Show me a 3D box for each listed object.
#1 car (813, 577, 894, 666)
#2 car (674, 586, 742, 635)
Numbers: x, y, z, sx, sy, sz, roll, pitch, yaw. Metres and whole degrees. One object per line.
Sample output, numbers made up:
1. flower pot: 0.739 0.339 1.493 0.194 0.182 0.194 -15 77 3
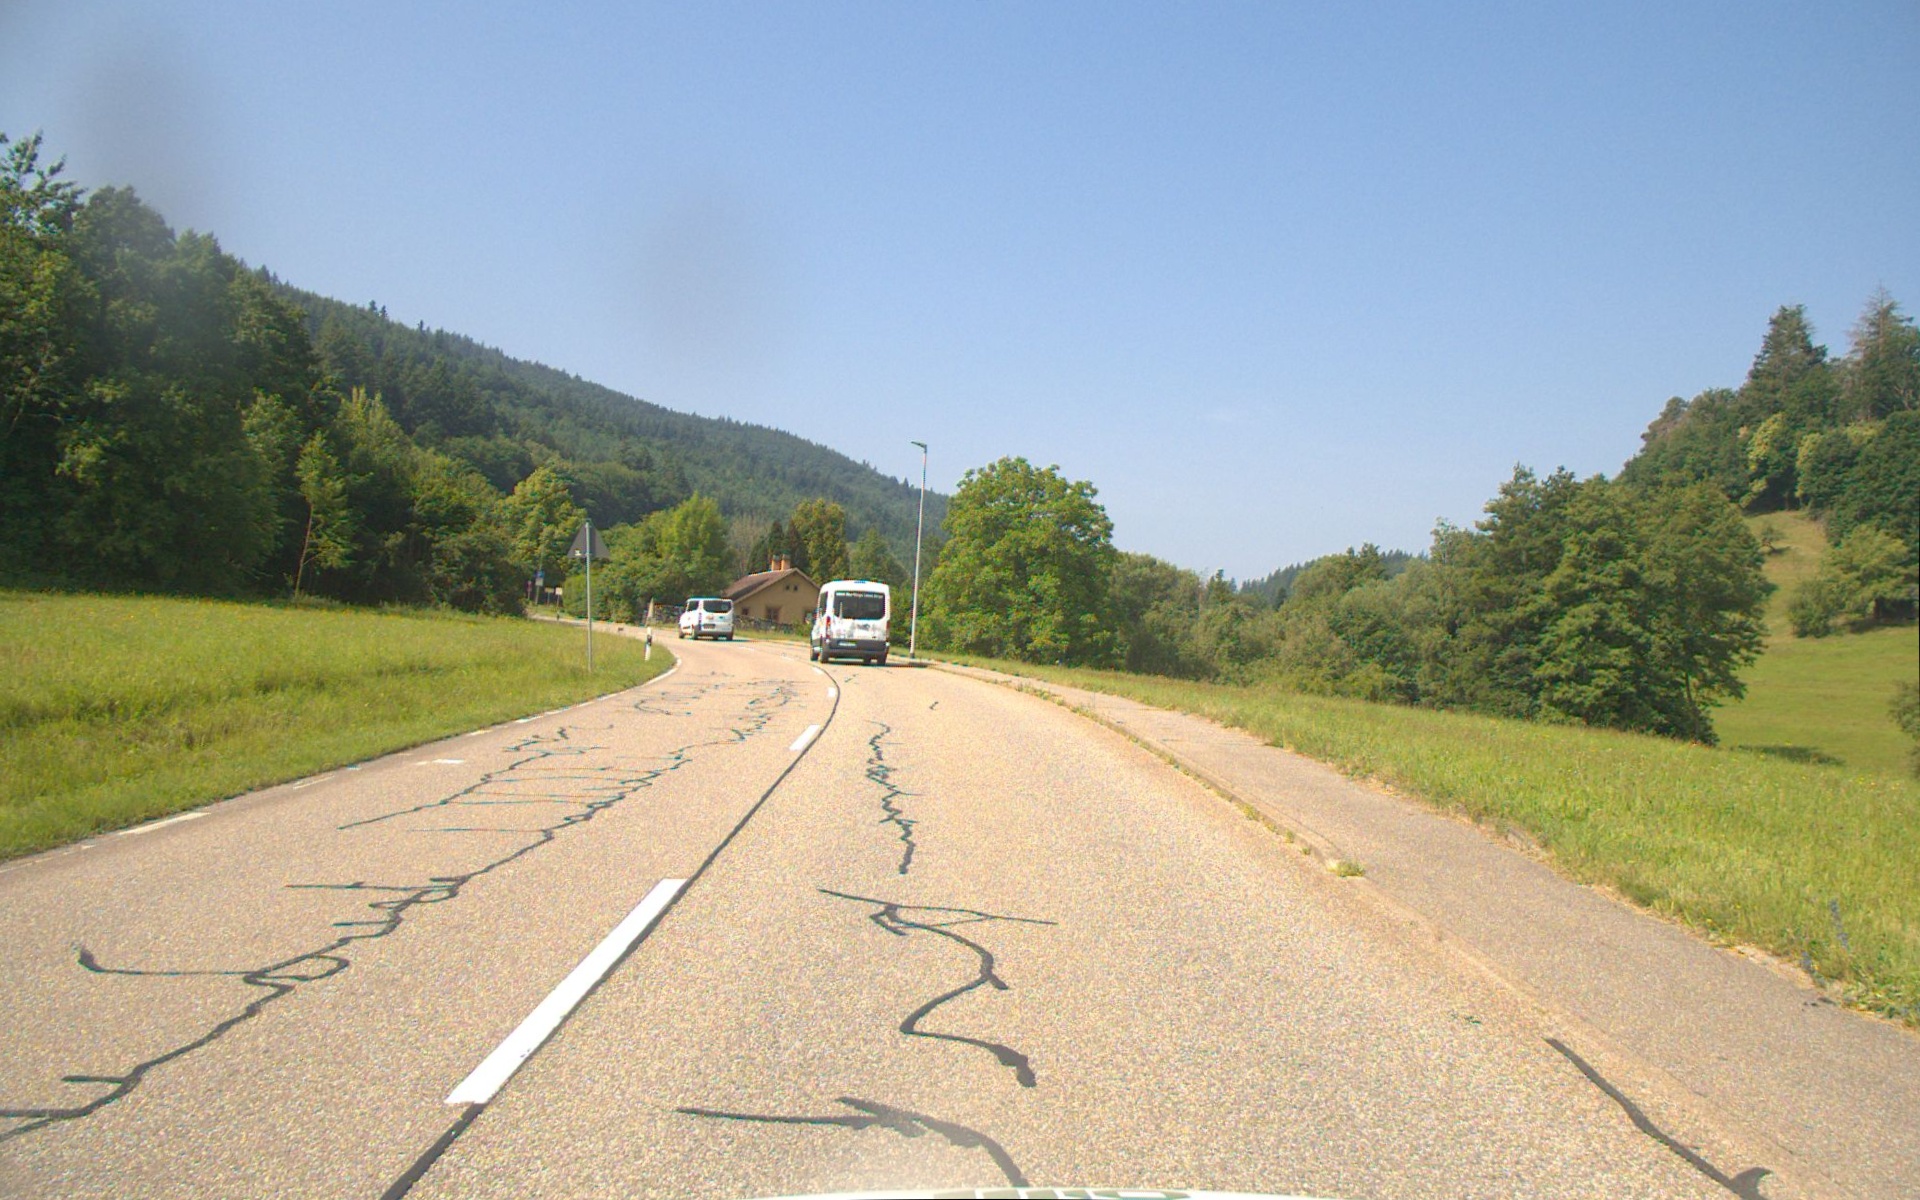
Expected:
1. car: -3.351 0.663 51.184 2.180 2.570 4.976 -1 -1 -7
2. car: -12.394 0.527 81.091 2.192 2.327 4.950 -1 -1 -22
